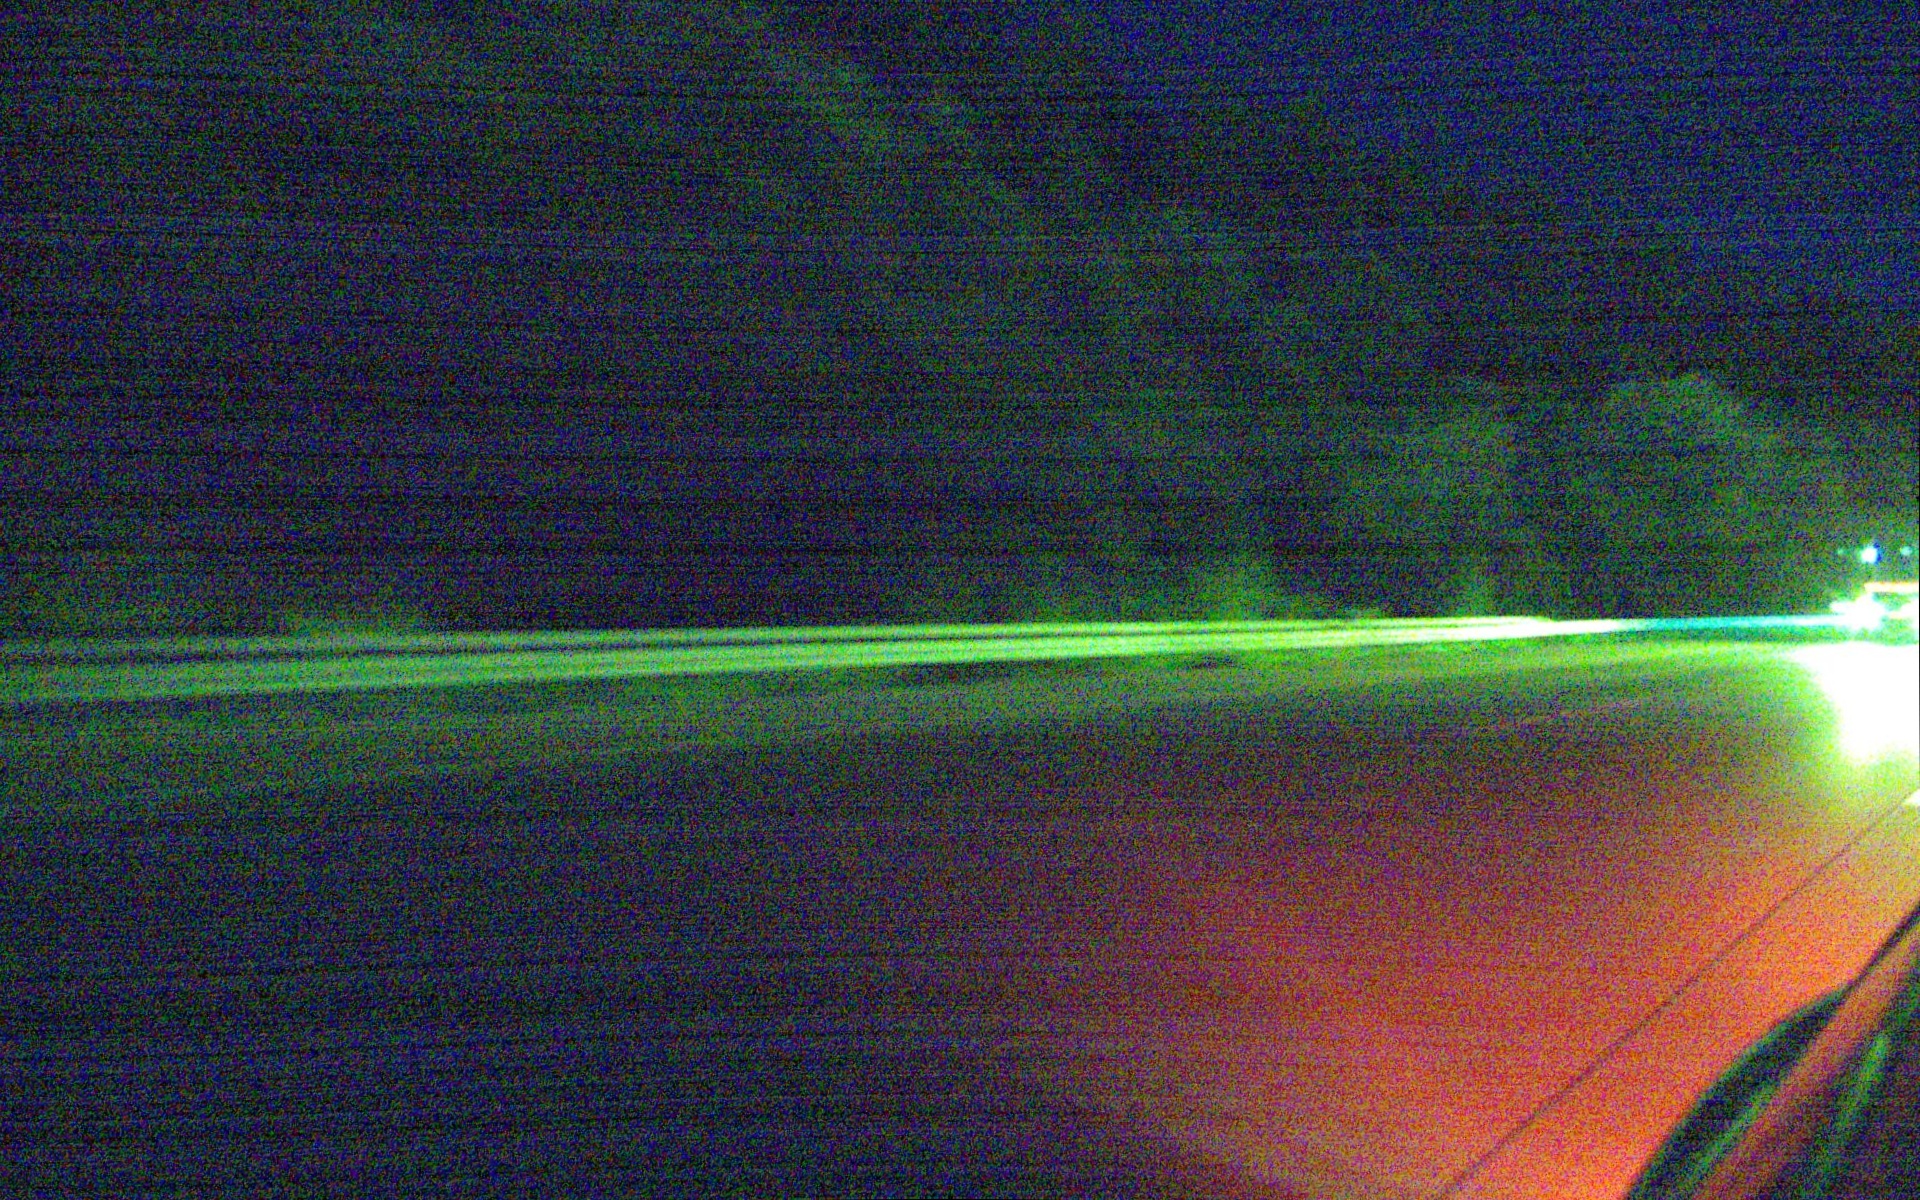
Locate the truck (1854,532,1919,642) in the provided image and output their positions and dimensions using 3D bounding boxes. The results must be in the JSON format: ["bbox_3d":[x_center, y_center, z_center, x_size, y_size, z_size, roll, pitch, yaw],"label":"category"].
[{"bbox_3d":[37.015,-0.504,38.414,7.903,3.889,2.875,-1,-1,-36],"label":"truck"}]

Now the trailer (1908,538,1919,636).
[{"bbox_3d":[44.903,-0.511,43.954,12.641,3.982,2.883,0,-1,-35],"label":"trailer"}]
